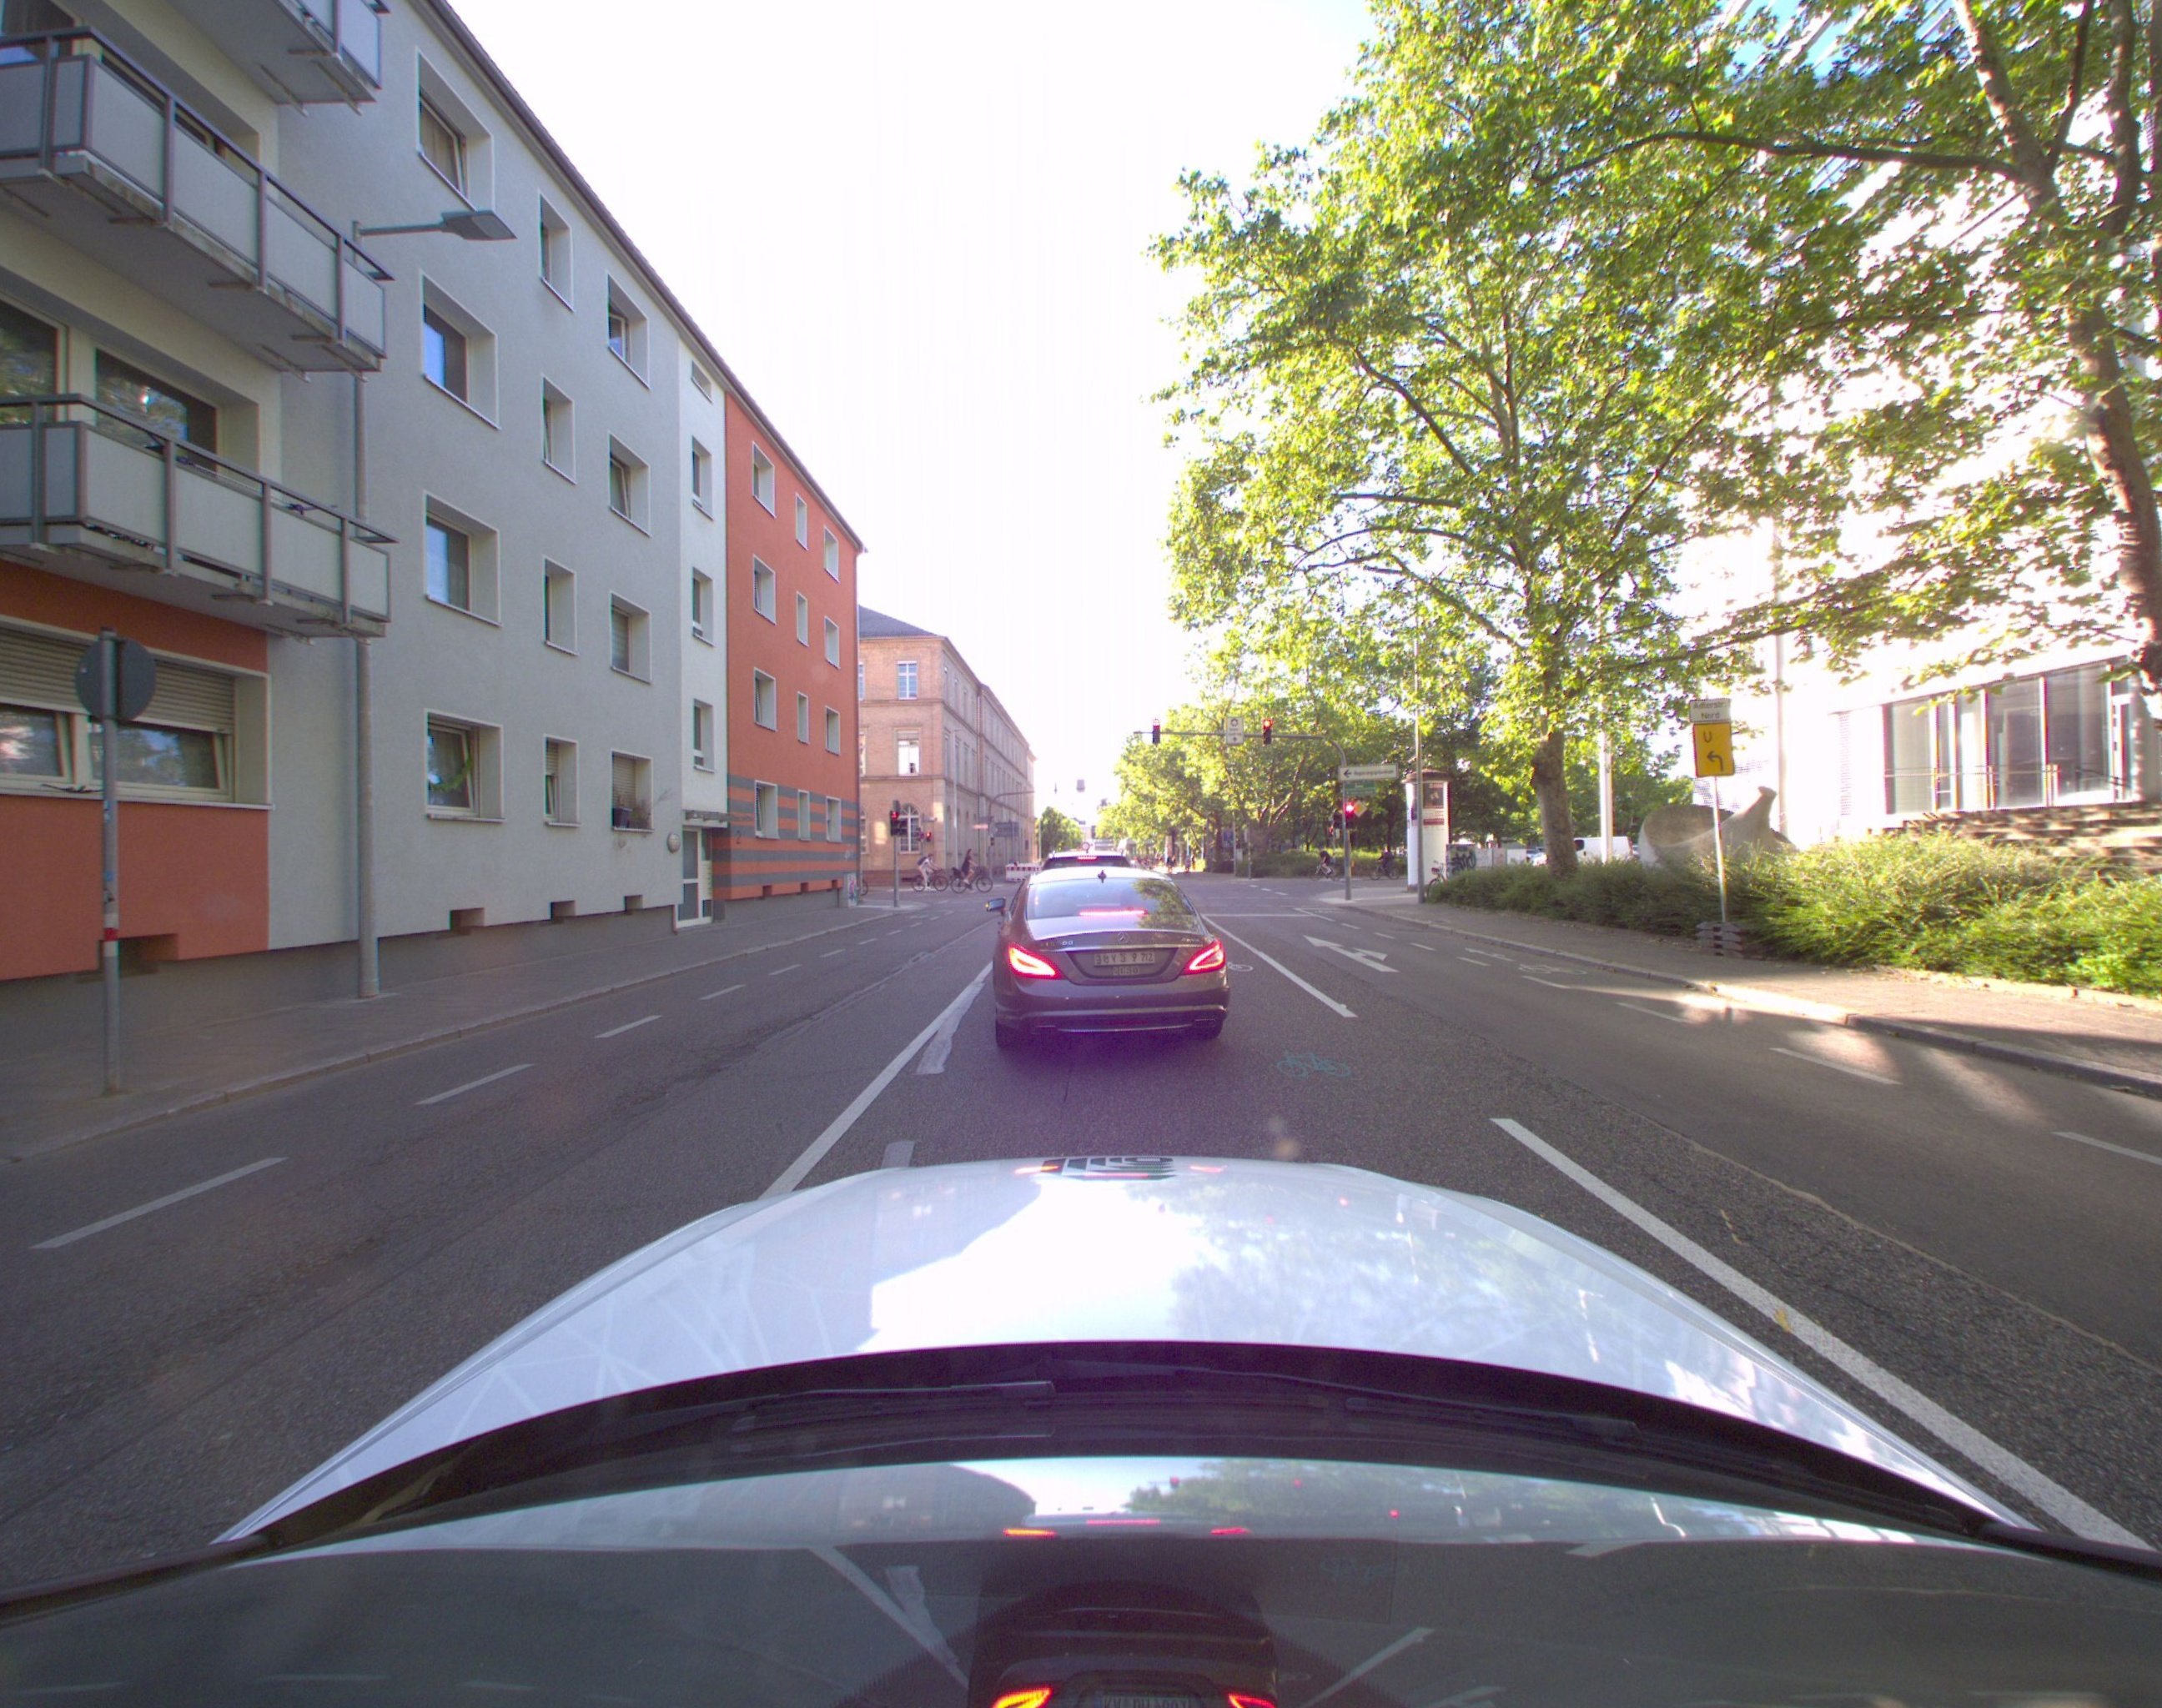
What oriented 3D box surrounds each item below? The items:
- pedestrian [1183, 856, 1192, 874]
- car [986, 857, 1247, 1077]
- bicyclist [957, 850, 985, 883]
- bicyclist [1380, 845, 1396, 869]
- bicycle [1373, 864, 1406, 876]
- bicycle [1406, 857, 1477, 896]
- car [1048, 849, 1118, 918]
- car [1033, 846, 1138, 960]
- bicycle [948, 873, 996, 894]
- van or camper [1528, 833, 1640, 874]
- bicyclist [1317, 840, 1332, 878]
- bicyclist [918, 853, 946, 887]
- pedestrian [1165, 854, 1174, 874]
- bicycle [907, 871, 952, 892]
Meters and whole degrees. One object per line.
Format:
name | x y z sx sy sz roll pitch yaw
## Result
pedestrian | 8.282 0.852 63.208 0.646 1.433 0.659 -1 0 1
car | 0.066 0.789 7.769 1.801 1.456 4.342 -1 -1 -5
bicyclist | -4.791 0.548 35.526 1.099 1.403 0.658 -1 0 1
bicyclist | 16.558 0.169 43.911 0.701 1.260 0.458 -1 0 5
bicycle | 16.636 0.850 43.950 1.579 0.635 0.496 -1 0 5
bicycle | 10.428 0.647 23.575 1.796 1.097 0.510 -1 0 4
car | 0.126 0.778 23.377 1.813 1.762 4.002 -1 0 2
car | 0.060 0.719 13.822 1.513 1.647 3.879 -1 0 0
bicycle | -4.762 1.272 35.513 1.967 0.836 0.677 -1 0 2
van or camper | 25.682 -0.010 41.681 4.567 1.941 1.998 -1 0 -2
bicyclist | 13.191 0.279 44.062 0.650 2.013 0.440 -1 0 -1
bicyclist | -6.887 0.734 37.570 1.069 1.519 0.718 -1 0 6
pedestrian | 6.938 0.795 63.913 0.646 1.503 0.637 -1 0 1
bicycle | -6.968 1.263 37.569 1.884 0.882 0.726 -1 0 5
